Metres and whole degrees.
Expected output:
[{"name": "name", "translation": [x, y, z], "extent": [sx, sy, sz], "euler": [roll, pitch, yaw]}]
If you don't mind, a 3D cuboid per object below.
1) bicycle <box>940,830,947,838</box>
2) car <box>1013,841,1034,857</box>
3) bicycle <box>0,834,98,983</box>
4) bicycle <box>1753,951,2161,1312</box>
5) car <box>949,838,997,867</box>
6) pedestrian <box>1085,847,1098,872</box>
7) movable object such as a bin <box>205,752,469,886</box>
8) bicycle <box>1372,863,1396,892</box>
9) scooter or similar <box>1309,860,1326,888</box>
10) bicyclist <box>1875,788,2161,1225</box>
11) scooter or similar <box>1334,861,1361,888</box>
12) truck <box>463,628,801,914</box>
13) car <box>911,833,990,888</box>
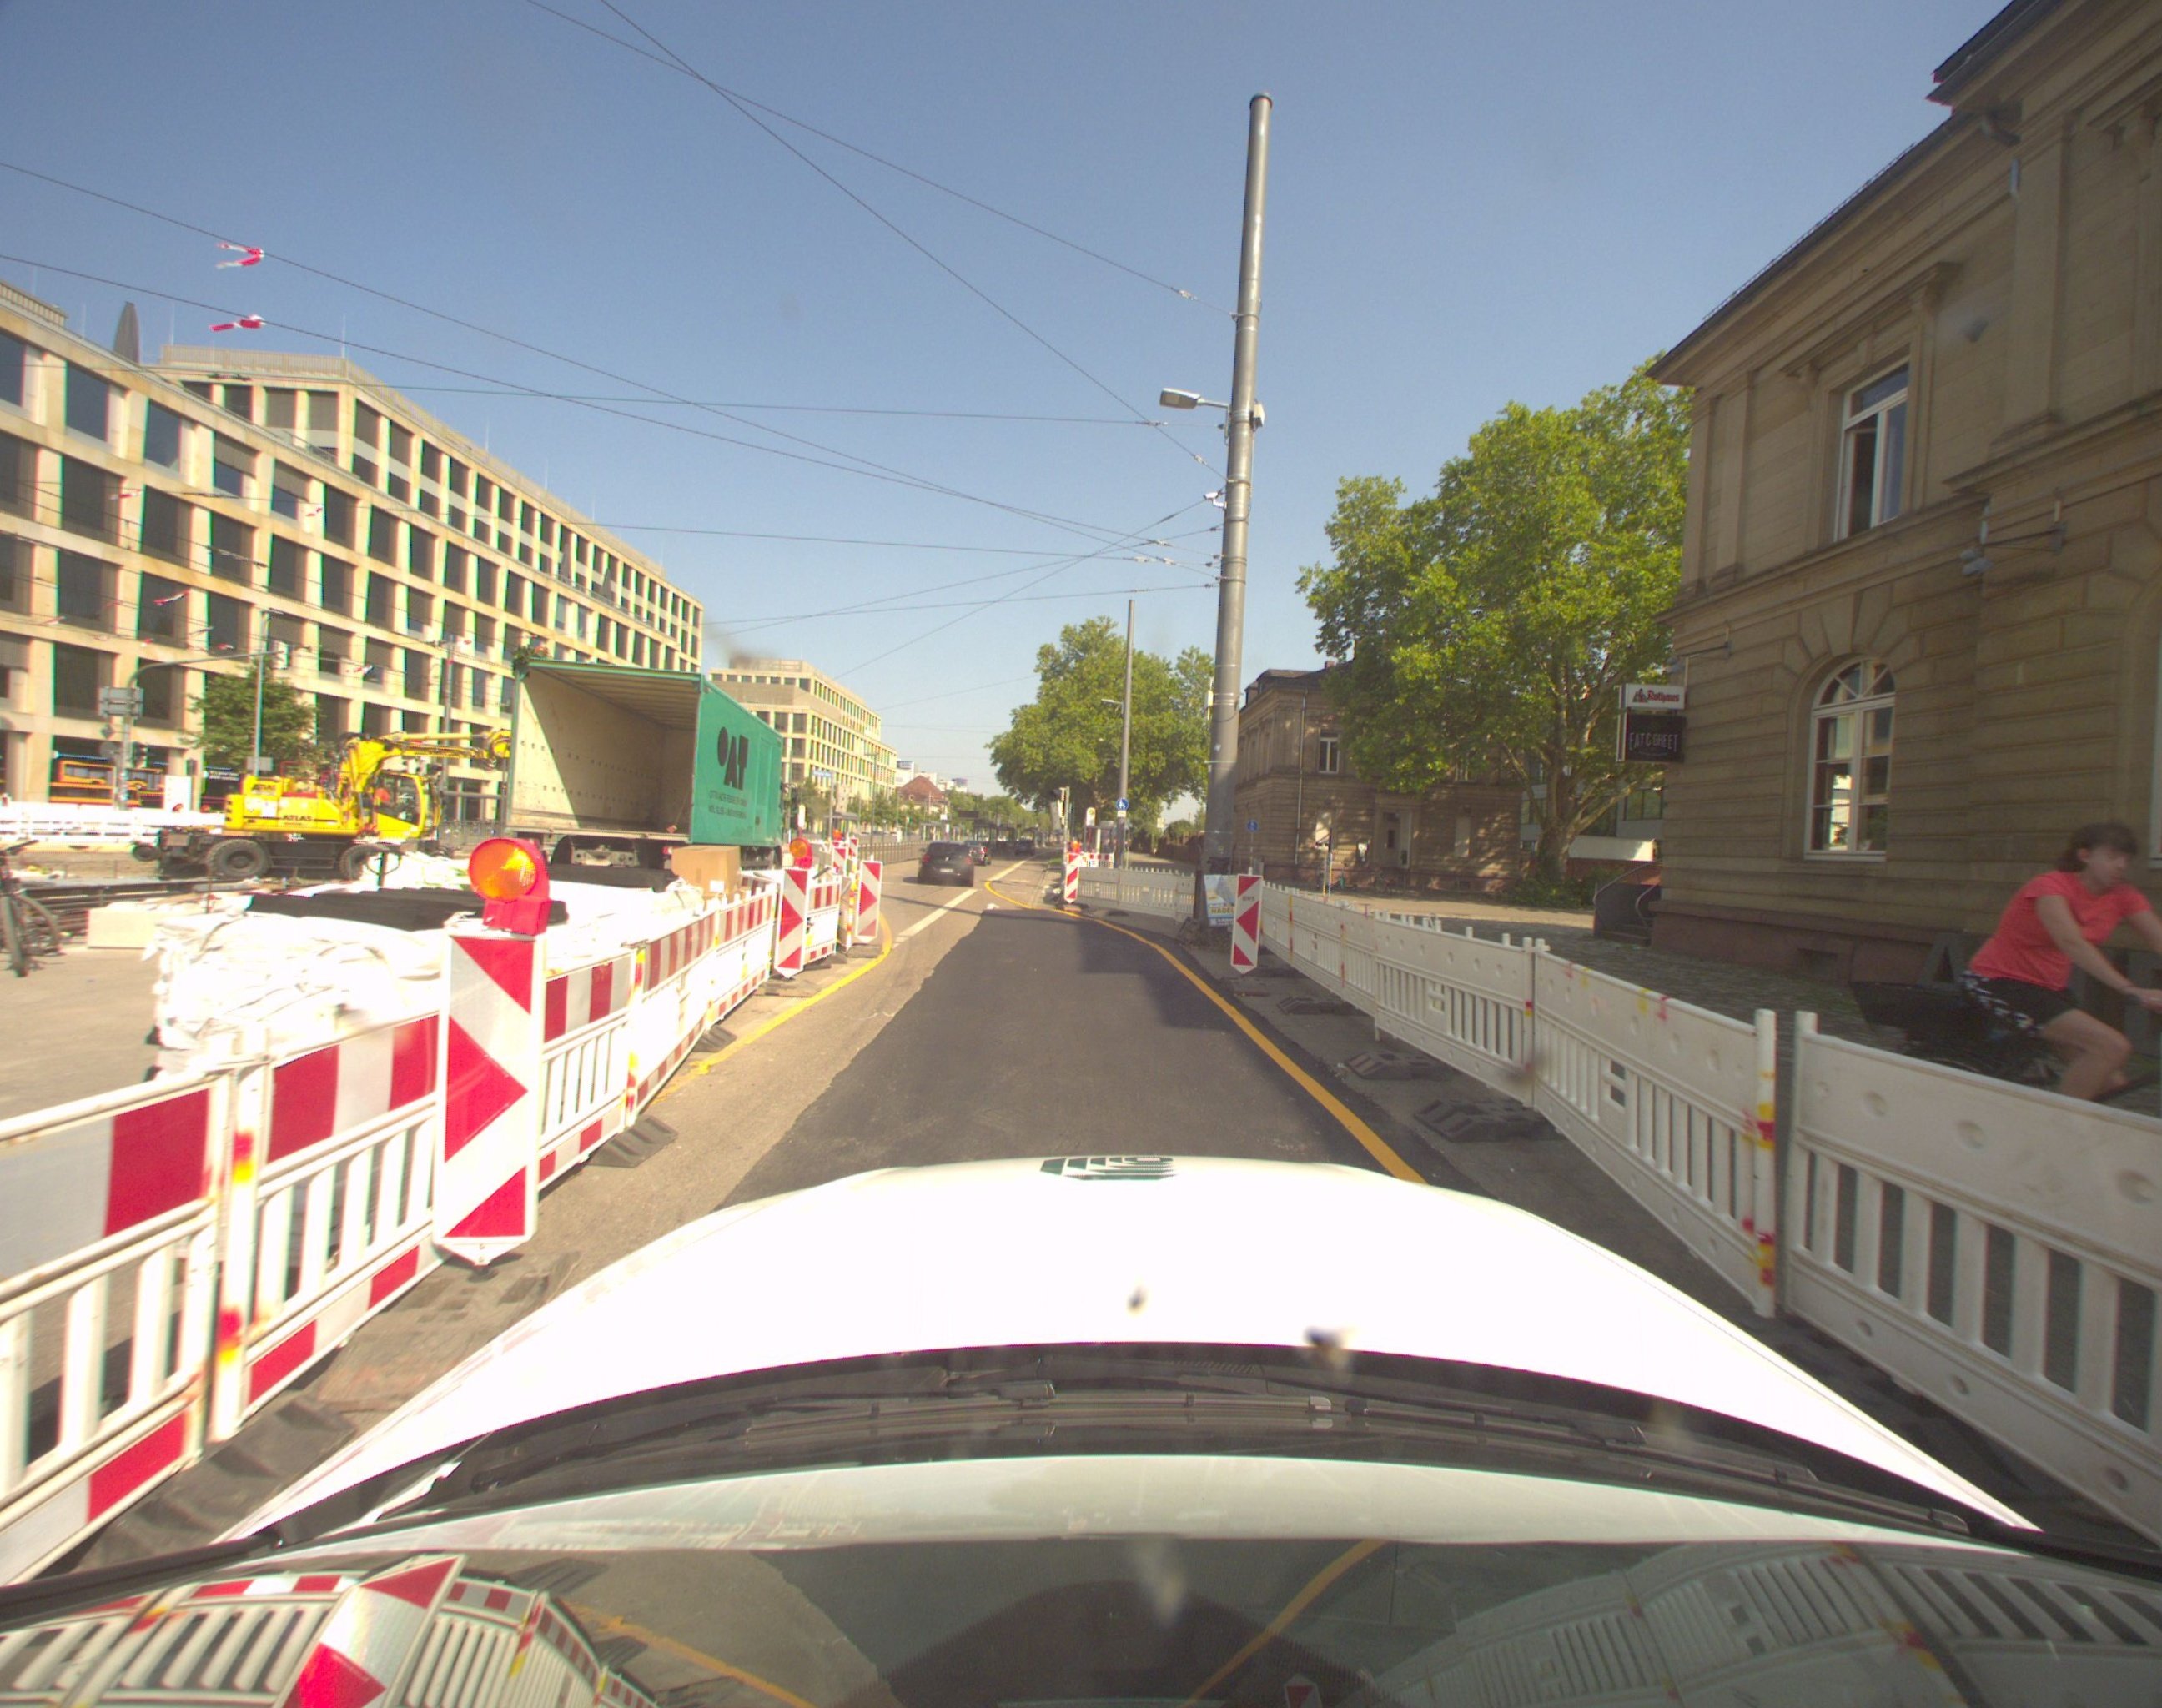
[{"name": "bicycle", "translation": [-23.102, -3.357, 136.555], "extent": [0.468, 1.147, 1.489], "euler": [3, 0, 14]}, {"name": "car", "translation": [-5.659, -0.495, 80.576], "extent": [1.902, 1.537, 3.999], "euler": [1, 1, -1]}, {"name": "bicycle", "translation": [-9.539, 0.443, 7.409], "extent": [1.777, 1.148, 0.680], "euler": [4, 1, 38]}, {"name": "bicycle", "translation": [4.177, 1.092, 3.531], "extent": [0.739, 1.032, 2.132], "euler": [2, 1, 0]}, {"name": "car", "translation": [-6.057, -0.091, 46.244], "extent": [1.986, 1.441, 4.001], "euler": [3, 0, 2]}, {"name": "pedestrian", "translation": [0.563, 0.288, 43.563], "extent": [0.607, 1.277, 0.758], "euler": [1, 1, -3]}, {"name": "movable object such as a bin", "translation": [-20.134, -0.895, 22.449], "extent": [4.120, 3.222, 3.549], "euler": [2, 1, -16]}, {"name": "bicycle", "translation": [13.314, 1.021, 35.780], "extent": [0.496, 1.166, 1.631], "euler": [2, 1, 4]}, {"name": "scooter or similar", "translation": [10.327, 0.850, 35.600], "extent": [0.407, 1.166, 1.227], "euler": [2, 1, 4]}, {"name": "bicyclist", "translation": [4.196, 0.575, 3.471], "extent": [0.732, 1.625, 0.853], "euler": [2, 1, 0]}, {"name": "scooter or similar", "translation": [11.822, 0.920, 36.122], "extent": [1.089, 1.132, 0.312], "euler": [2, 0, -4]}, {"name": "truck", "translation": [-7.613, -1.201, 15.571], "extent": [2.808, 3.788, 8.985], "euler": [2, 1, -10]}, {"name": "car", "translation": [-4.244, 0.174, 27.133], "extent": [1.902, 1.537, 3.998], "euler": [6, 1, -1]}]
